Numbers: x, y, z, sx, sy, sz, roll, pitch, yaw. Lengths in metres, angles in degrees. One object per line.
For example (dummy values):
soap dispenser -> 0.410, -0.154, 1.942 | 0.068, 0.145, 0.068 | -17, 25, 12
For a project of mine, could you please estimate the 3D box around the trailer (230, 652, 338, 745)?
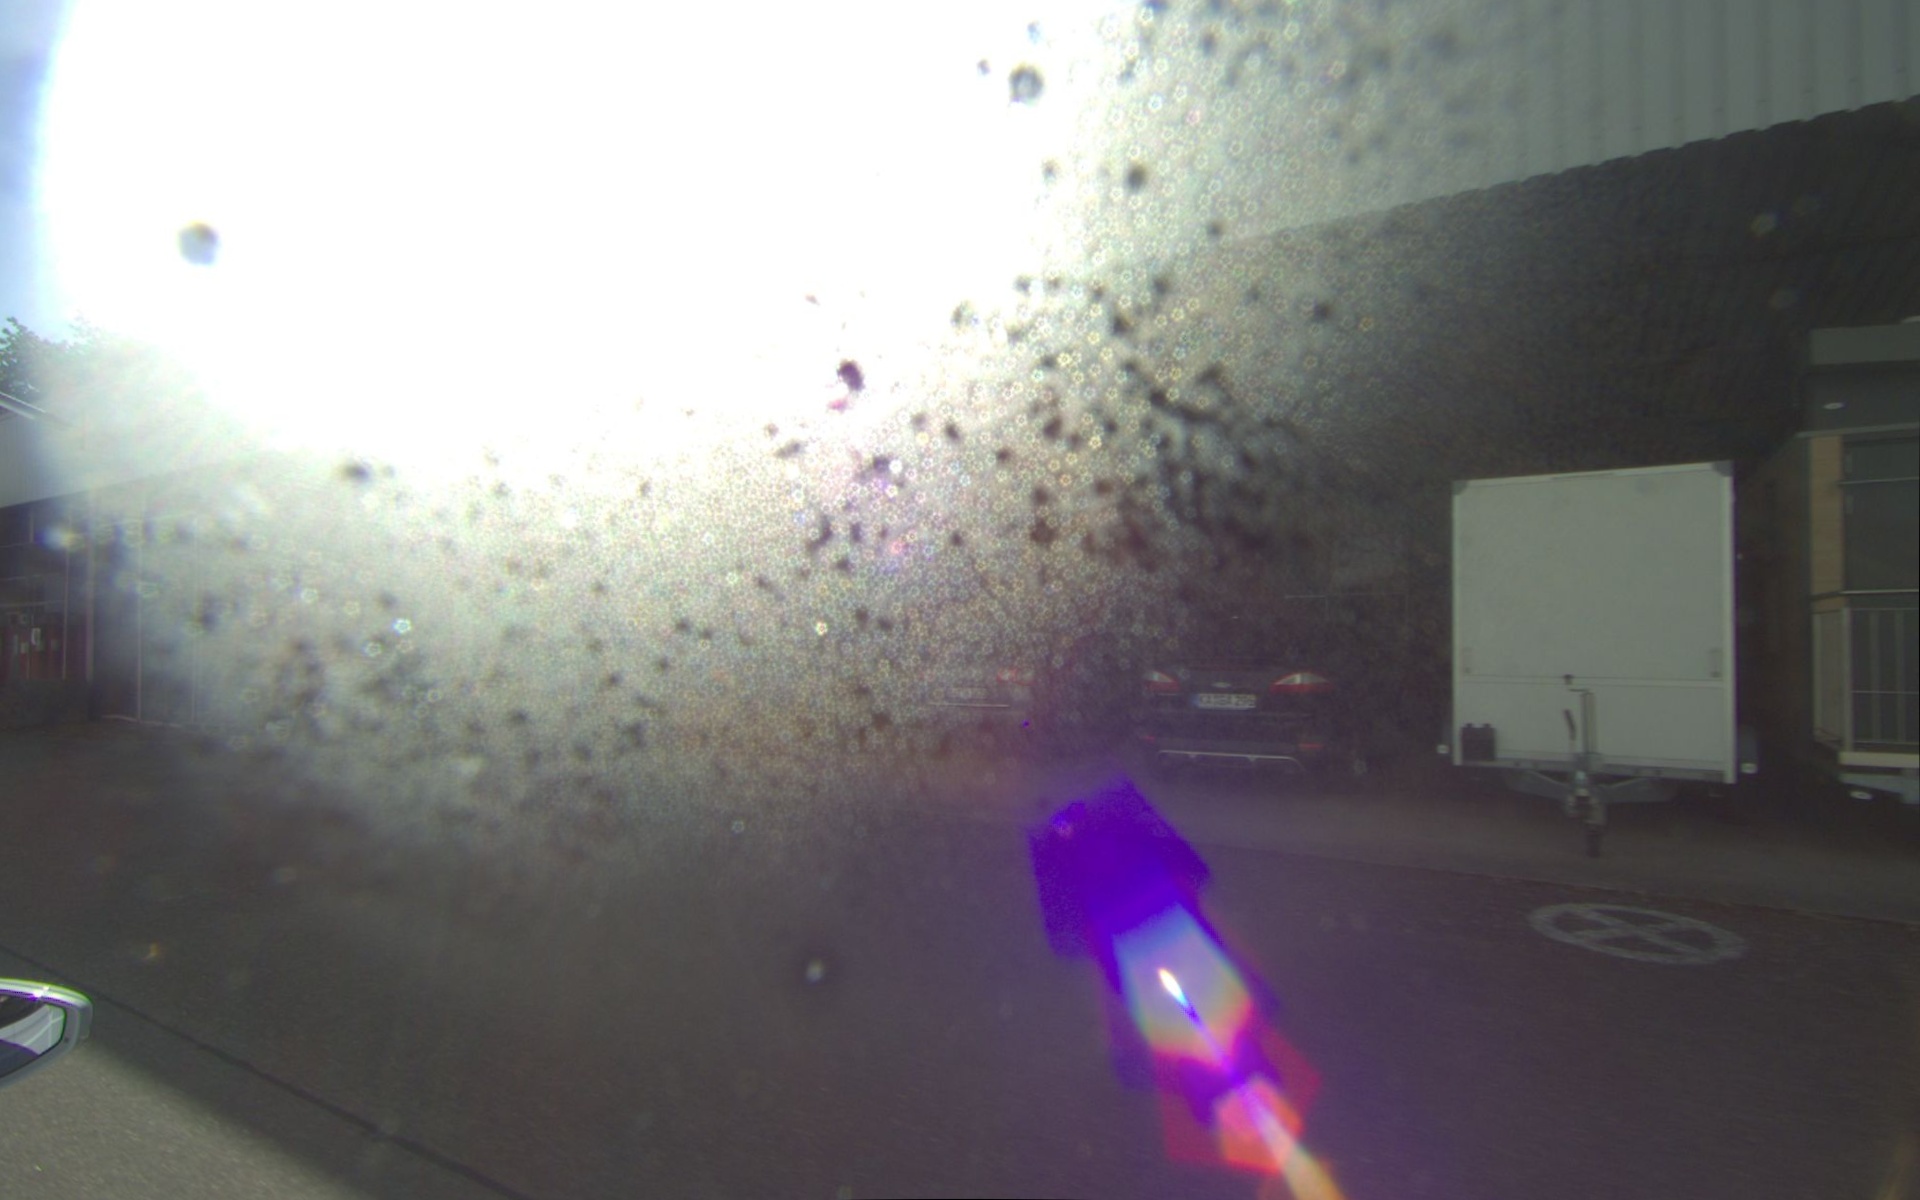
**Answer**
trailer -> -8.767, 1.251, 12.980 | 1.524, 1.133, 0.551 | -2, -1, 30

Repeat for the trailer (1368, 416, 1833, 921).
trailer -> 4.449, 0.379, 7.164 | 2.019, 2.372, 4.507 | -1, -1, 33

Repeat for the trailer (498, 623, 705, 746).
trailer -> -4.821, 1.067, 13.544 | 1.715, 1.485, 2.032 | -1, -1, 36

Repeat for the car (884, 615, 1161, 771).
car -> 0.929, 1.000, 12.040 | 1.812, 1.533, 3.961 | -1, -2, 29

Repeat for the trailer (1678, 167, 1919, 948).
trailer -> 7.875, -0.132, 8.039 | 2.761, 3.386, 10.249 | -1, -1, 32

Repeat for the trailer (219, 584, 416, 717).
trailer -> -11.467, 0.873, 17.897 | 2.763, 2.171, 1.917 | -1, -1, 30

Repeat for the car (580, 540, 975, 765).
car -> -2.056, 0.643, 13.128 | 2.121, 2.310, 5.325 | -1, -2, 31

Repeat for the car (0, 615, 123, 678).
car -> -29.811, 1.473, 31.643 | 1.967, 1.940, 4.773 | -1, -3, 24

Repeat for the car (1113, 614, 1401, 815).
car -> 3.095, 0.931, 9.761 | 1.841, 1.490, 4.245 | -1, -2, 29
